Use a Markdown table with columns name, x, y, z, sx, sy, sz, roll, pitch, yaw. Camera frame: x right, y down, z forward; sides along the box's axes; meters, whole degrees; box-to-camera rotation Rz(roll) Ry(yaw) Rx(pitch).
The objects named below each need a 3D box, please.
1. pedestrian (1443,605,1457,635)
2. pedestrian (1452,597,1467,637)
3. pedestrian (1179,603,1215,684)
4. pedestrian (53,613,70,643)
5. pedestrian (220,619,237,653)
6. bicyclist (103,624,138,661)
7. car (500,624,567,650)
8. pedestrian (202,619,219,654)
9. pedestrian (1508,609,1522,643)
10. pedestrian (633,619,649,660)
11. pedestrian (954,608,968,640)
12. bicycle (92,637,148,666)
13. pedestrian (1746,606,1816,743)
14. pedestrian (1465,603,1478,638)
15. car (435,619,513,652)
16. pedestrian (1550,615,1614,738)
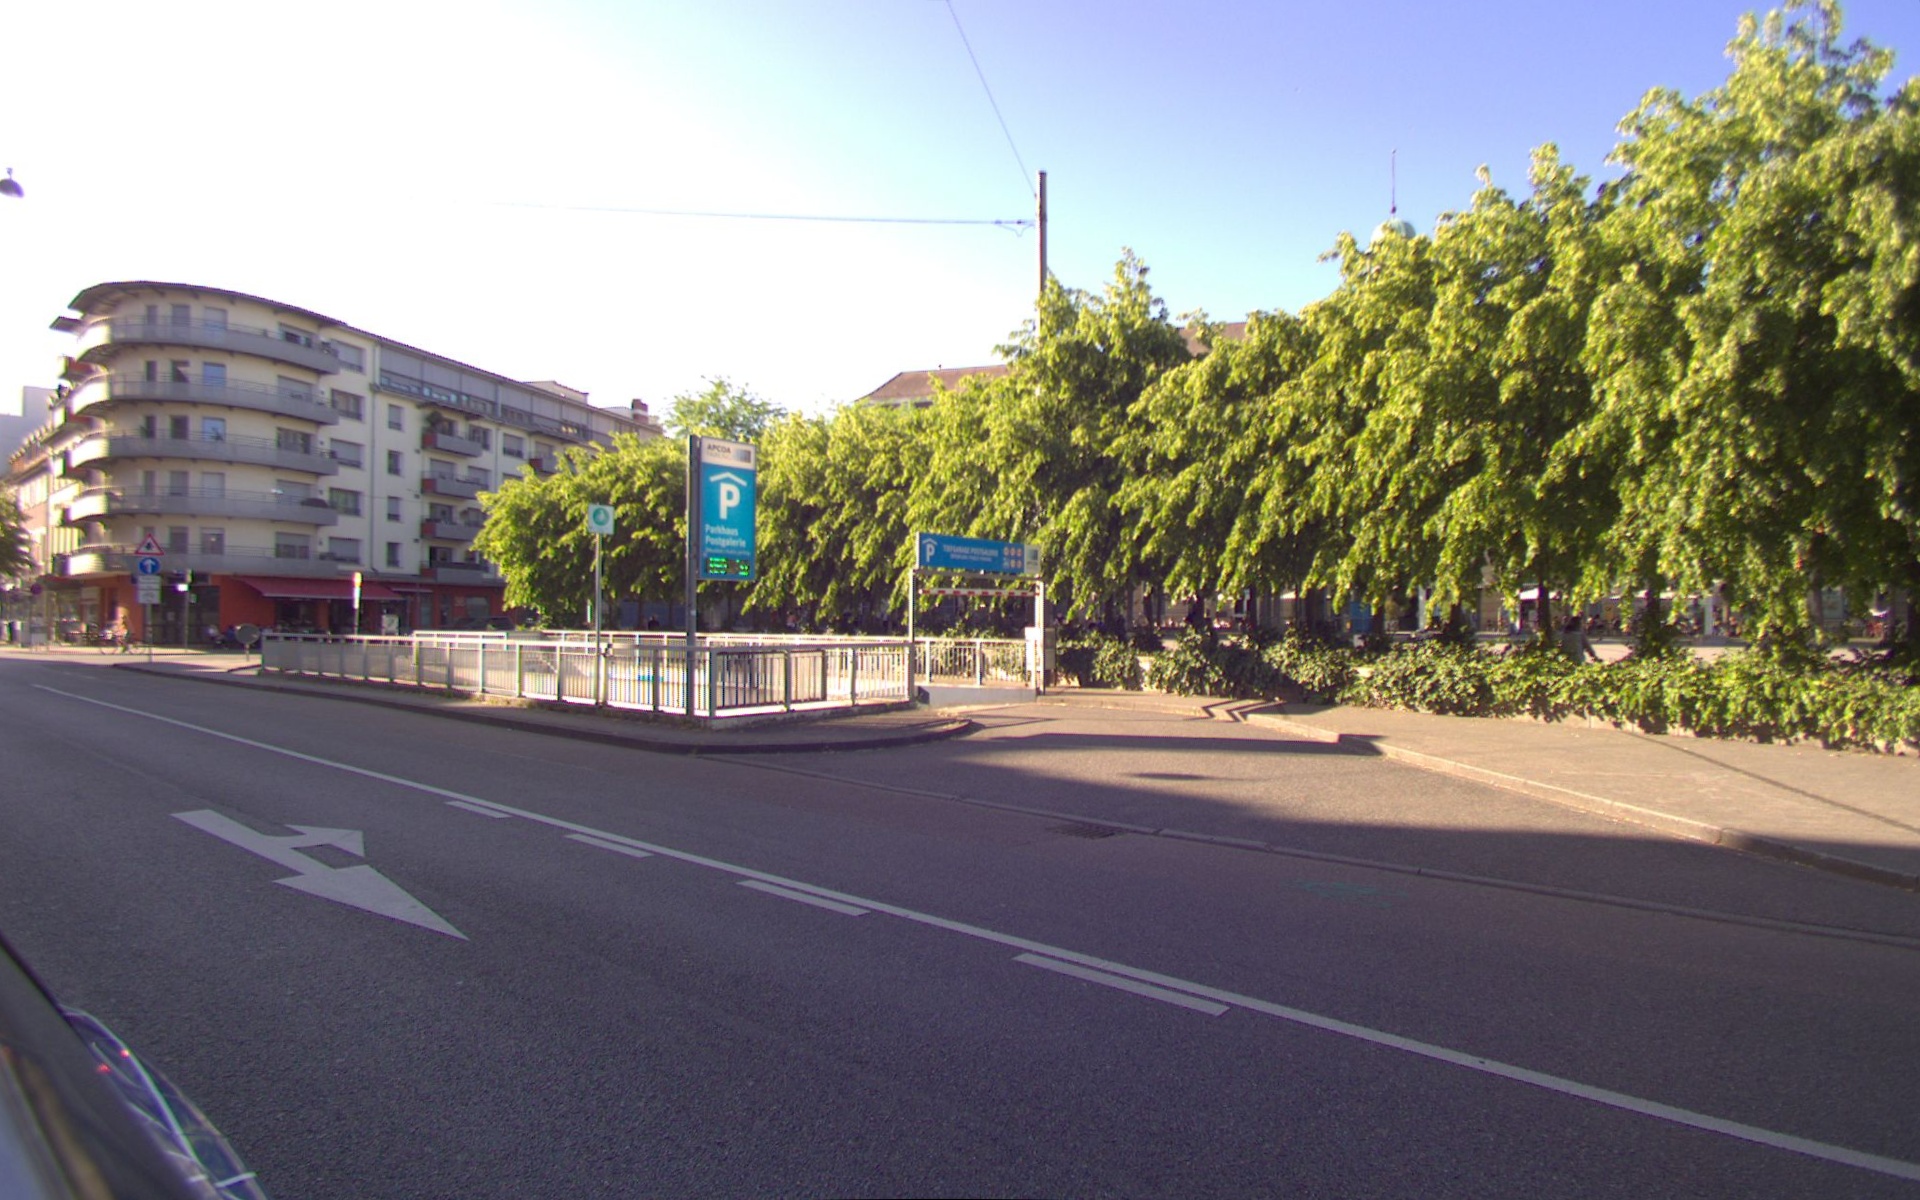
| name | x | y | z | sx | sy | sz | roll | pitch | yaw |
| --- | --- | --- | --- | --- | --- | --- | --- | --- | --- |
| pedestrian | 30.121 | 1.209 | 62.221 | 0.593 | 1.806 | 0.583 | -1 | 0 | 0 |
| pedestrian | 23.116 | 0.777 | 46.827 | 0.599 | 1.806 | 0.576 | -1 | -1 | 31 |
| pedestrian | 5.573 | 1.003 | 23.784 | 0.674 | 1.870 | 0.577 | -1 | -1 | 30 |
| pedestrian | -49.494 | 1.532 | 55.740 | 0.792 | 1.634 | 0.563 | -1 | -1 | 37 |
| pedestrian | -36.816 | 1.810 | 50.942 | 0.642 | 1.721 | 0.568 | -2 | -2 | 43 |
| bicyclist | -37.716 | 1.902 | 45.474 | 0.960 | 1.627 | 0.715 | 0 | 0 | -10 |
| car | -28.886 | 2.474 | 68.616 | 1.938 | 1.633 | 4.272 | -1 | -1 | 16 |
| pedestrian | -37.466 | 1.822 | 50.613 | 0.642 | 1.721 | 0.568 | -2 | -2 | 43 |
| pedestrian | 29.745 | 1.388 | 54.274 | 0.598 | 1.806 | 0.577 | -1 | 0 | 27 |
| pedestrian | -14.451 | 1.779 | 45.848 | 0.574 | 1.806 | 0.602 | 0 | 0 | -5 |
| pedestrian | 0.064 | 1.344 | 57.519 | 0.578 | 1.806 | 0.597 | -1 | 0 | 20 |
| bicycle | -37.737 | 2.316 | 45.467 | 1.843 | 1.221 | 0.715 | 0 | 0 | -10 |
| pedestrian | 11.587 | 1.031 | 14.297 | 0.597 | 1.870 | 0.578 | -1 | 0 | 22 |
| pedestrian | 26.720 | 1.087 | 52.869 | 0.580 | 1.806 | 0.596 | -1 | 0 | 27 |
| car | -30.419 | 2.198 | 63.487 | 1.938 | 1.927 | 4.403 | -1 | -1 | 16 |
| pedestrian | 9.789 | 1.170 | 15.925 | 0.732 | 1.870 | 0.574 | -1 | -1 | 44 |
